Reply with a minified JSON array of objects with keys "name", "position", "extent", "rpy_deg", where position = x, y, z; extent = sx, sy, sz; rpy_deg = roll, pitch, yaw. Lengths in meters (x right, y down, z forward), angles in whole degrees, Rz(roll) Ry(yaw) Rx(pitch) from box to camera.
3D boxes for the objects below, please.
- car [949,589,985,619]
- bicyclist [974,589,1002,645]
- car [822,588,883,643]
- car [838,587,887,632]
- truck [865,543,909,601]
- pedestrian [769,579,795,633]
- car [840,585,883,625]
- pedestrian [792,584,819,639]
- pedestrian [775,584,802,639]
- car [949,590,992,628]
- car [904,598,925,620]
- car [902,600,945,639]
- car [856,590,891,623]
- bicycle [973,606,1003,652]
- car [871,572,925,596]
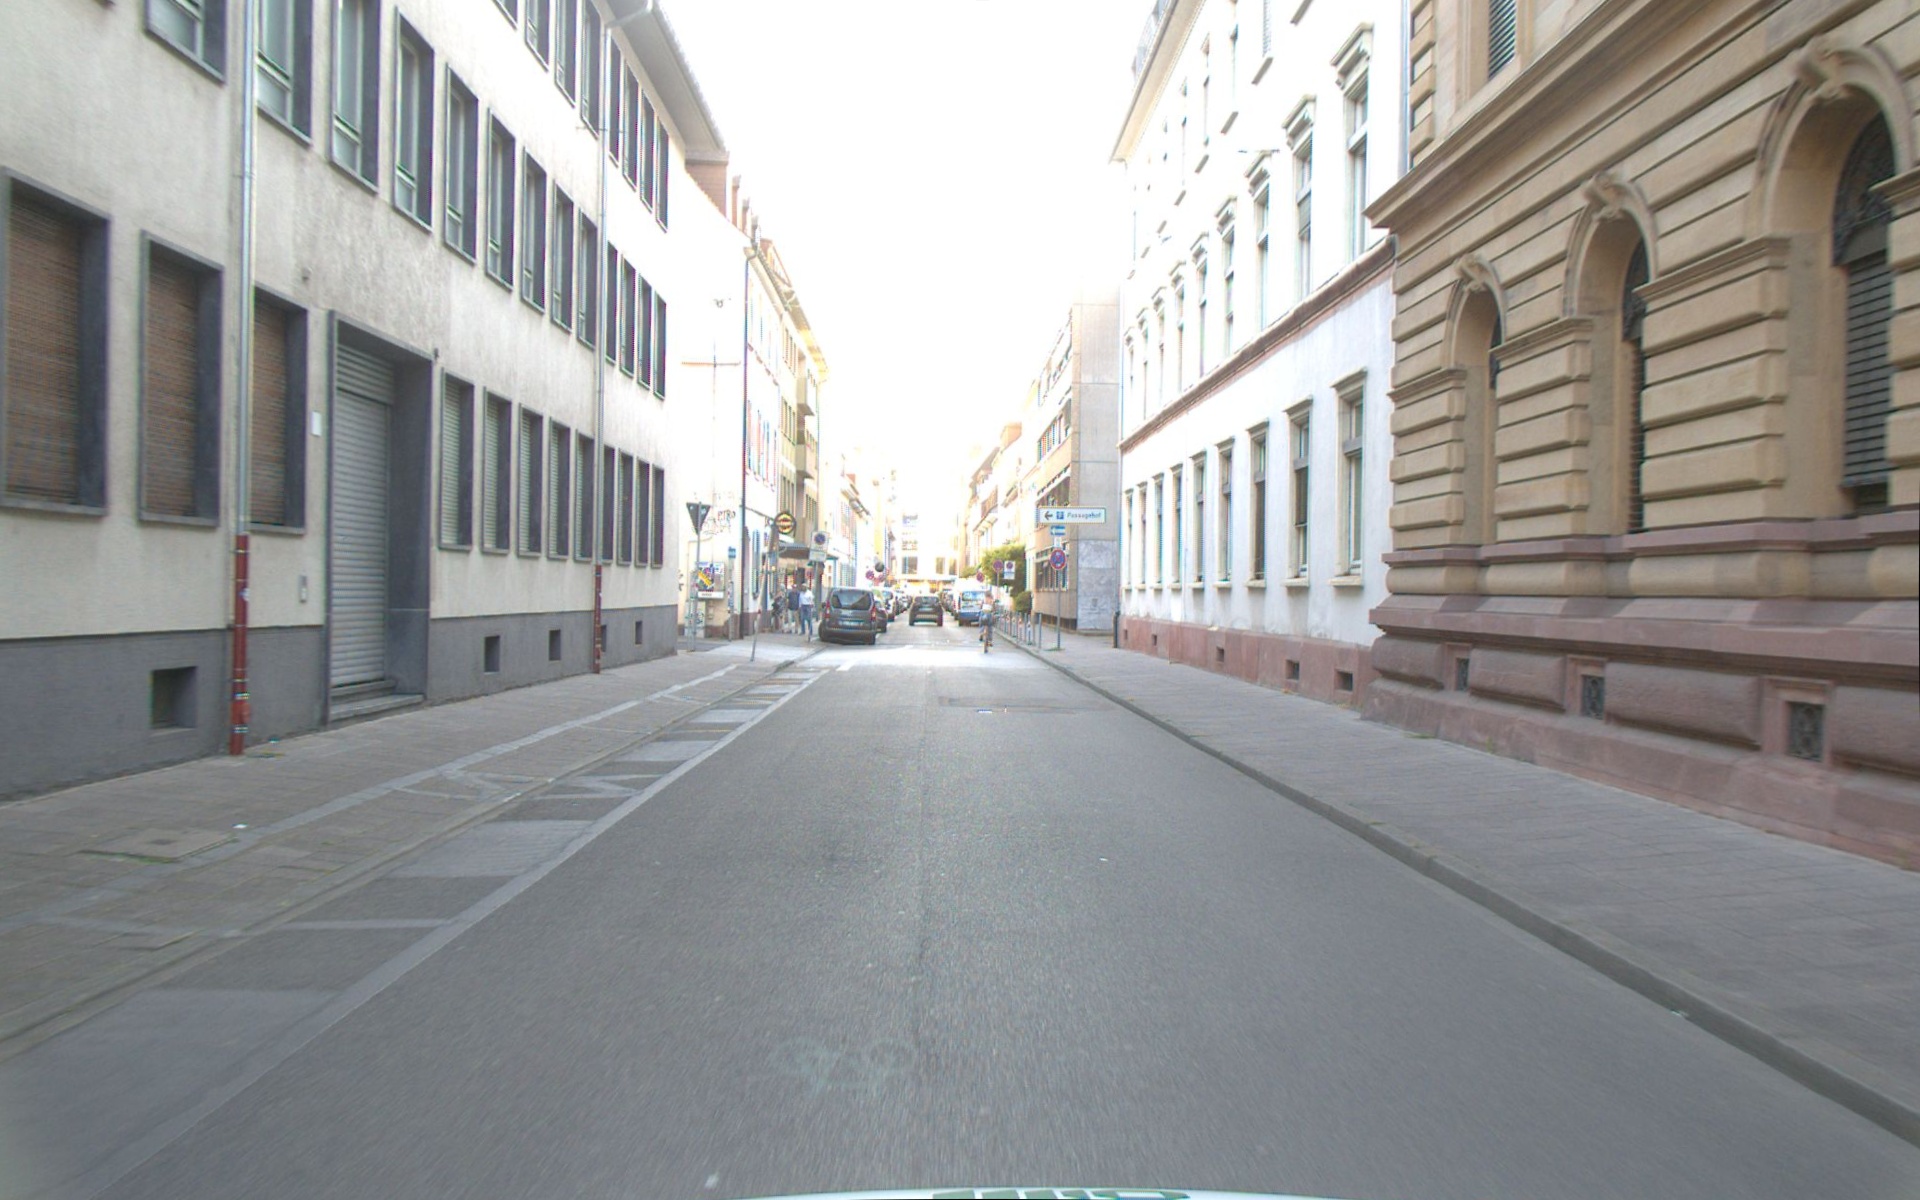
[{"name":"car","position":[0.434,0.263,107.929],"extent":[1.954,1.919,4.168],"rpy_deg":[0,0,-5]},{"name":"bicyclist","position":[0.803,0.486,48.161],"extent":[0.773,1.611,1.012],"rpy_deg":[0,0,-1]},{"name":"car","position":[-3.535,0.482,55.062],"extent":[1.954,1.758,3.998],"rpy_deg":[0,0,-3]},{"name":"car","position":[-4.157,0.379,69.965],"extent":[1.955,1.847,3.995],"rpy_deg":[0,0,-6]},{"name":"truck","position":[-4.796,-1.741,108.507],"extent":[2.715,3.566,9.610],"rpy_deg":[1,0,-3]},{"name":"pedestrian","position":[-6.244,0.208,57.922],"extent":[0.744,1.861,0.731],"rpy_deg":[0,0,-20]},{"name":"car","position":[-4.663,0.236,77.968],"extent":[1.954,1.847,3.996],"rpy_deg":[0,0,-5]},{"name":"pedestrian","position":[-5.499,0.416,59.041],"extent":[0.717,1.945,0.758],"rpy_deg":[0,0,17]},{"name":"pedestrian","position":[-6.155,0.409,59.451],"extent":[0.717,1.945,0.758],"rpy_deg":[0,0,17]},{"name":"car","position":[0.555,0.468,88.571],"extent":[1.954,2.026,3.996],"rpy_deg":[0,0,-5]},{"name":"car","position":[-4.375,0.905,158.641],"extent":[1.953,2.049,3.999],"rpy_deg":[1,-1,-1]},{"name":"car","position":[-1.898,0.992,85.300],"extent":[1.954,1.937,3.996],"rpy_deg":[0,0,-5]},{"name":"car","position":[-5.045,0.364,96.449],"extent":[1.954,1.847,3.997],"rpy_deg":[0,0,-3]},{"name":"bicycle","position":[0.809,0.827,48.221],"extent":[0.777,1.299,2.577],"rpy_deg":[0,0,-1]},{"name":"car","position":[-4.786,-1.217,127.060],"extent":[3.914,1.801,2.010],"rpy_deg":[1,0,-10]}]
